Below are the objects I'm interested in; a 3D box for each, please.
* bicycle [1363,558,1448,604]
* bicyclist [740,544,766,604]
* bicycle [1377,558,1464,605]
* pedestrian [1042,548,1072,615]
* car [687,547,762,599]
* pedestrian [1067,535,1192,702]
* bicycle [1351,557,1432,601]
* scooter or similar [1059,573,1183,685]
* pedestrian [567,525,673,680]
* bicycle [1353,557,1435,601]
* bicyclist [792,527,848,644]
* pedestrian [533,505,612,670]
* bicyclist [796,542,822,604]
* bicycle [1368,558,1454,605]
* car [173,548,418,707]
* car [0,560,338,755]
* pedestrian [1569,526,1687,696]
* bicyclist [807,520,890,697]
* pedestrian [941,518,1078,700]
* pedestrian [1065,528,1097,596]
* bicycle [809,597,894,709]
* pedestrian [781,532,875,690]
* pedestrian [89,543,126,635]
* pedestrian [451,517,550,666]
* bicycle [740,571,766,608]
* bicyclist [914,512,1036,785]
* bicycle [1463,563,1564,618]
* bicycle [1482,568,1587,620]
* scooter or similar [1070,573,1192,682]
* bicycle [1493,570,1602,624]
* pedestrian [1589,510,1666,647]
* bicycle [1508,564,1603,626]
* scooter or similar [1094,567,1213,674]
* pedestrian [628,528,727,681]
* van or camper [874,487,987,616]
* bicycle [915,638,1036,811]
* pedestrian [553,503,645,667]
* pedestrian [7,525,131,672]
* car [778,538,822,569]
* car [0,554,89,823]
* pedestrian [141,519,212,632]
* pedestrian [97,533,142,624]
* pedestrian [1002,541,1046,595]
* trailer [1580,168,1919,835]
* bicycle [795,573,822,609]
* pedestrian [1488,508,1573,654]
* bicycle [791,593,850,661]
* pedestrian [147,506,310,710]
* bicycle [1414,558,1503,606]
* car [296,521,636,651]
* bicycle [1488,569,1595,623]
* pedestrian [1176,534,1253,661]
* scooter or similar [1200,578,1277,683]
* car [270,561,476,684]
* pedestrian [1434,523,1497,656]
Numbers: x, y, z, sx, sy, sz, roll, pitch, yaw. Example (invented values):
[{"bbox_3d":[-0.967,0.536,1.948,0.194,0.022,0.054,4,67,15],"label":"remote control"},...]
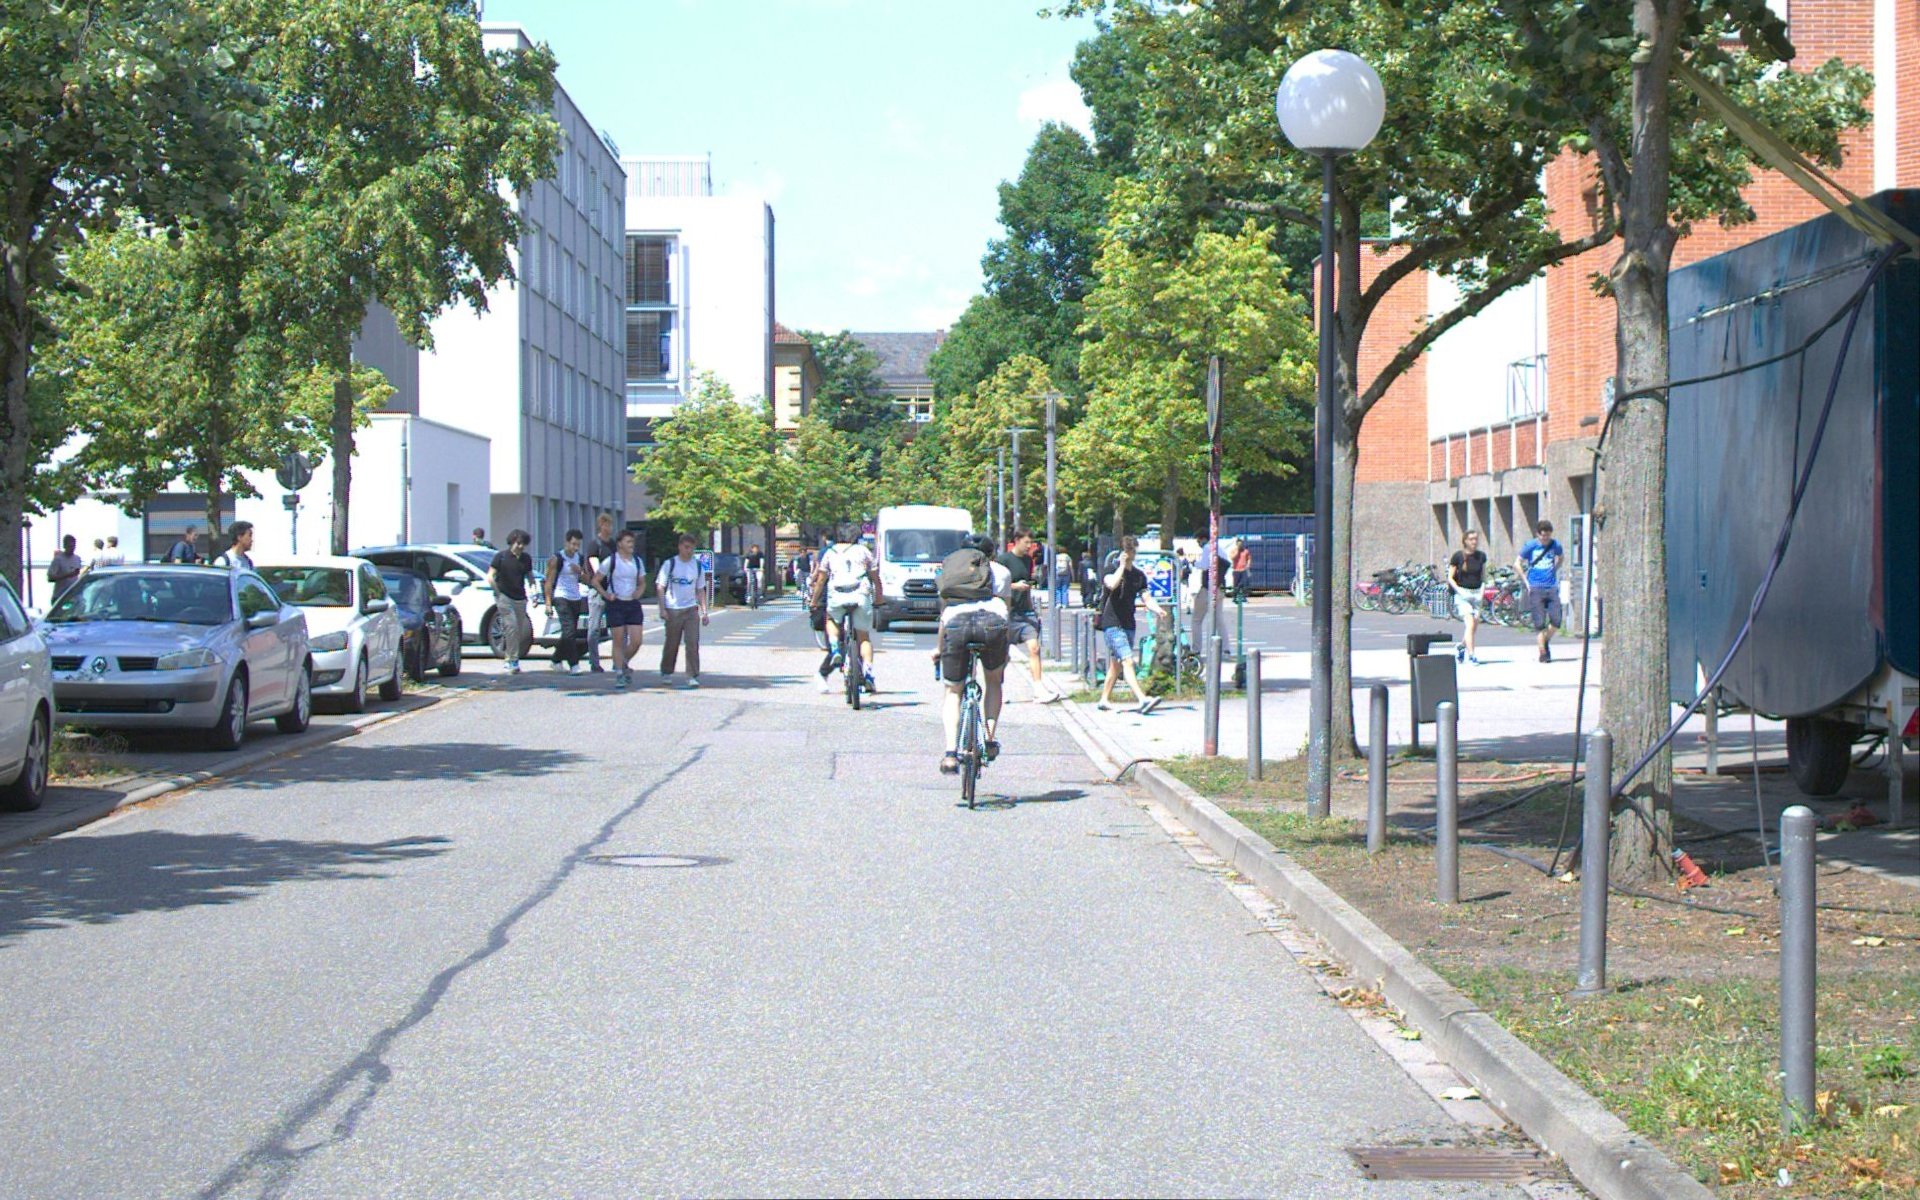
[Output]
[{"bbox_3d":[10.096,-0.443,77.916,1.809,0.981,0.560,-2,1,-1],"label":"bicycle"},{"bbox_3d":[-5.588,-0.712,92.787,0.643,1.596,0.909,-1,1,-3],"label":"bicyclist"},{"bbox_3d":[10.229,-0.416,76.383,1.809,0.981,0.560,-2,1,-1],"label":"bicycle"},{"bbox_3d":[2.726,-0.524,96.560,0.790,1.853,1.026,-1,1,1],"label":"pedestrian"},{"bbox_3d":[-7.156,-0.828,104.702,1.795,1.525,4.000,-1,1,3],"label":"car"},{"bbox_3d":[1.664,0.172,33.742,0.848,1.589,0.830,-3,2,-44],"label":"pedestrian"},{"bbox_3d":[10.184,-0.507,81.217,1.809,0.981,0.560,-2,1,-1],"label":"bicycle"},{"bbox_3d":[1.855,0.331,39.709,1.263,1.260,0.649,0,1,31],"label":"scooter or similar"},{"bbox_3d":[-3.865,0.024,39.070,0.982,1.733,0.699,0,0,38],"label":"pedestrian"},{"bbox_3d":[10.128,-0.489,80.253,1.809,0.981,0.560,-2,1,-1],"label":"bicycle"},{"bbox_3d":[-2.123,-0.221,52.135,0.808,1.750,0.692,1,0,0],"label":"bicyclist"},{"bbox_3d":[-4.701,-0.148,41.703,0.616,1.973,0.829,-1,-1,-32],"label":"pedestrian"},{"bbox_3d":[-4.122,-0.741,93.724,0.667,1.676,0.993,-1,1,-2],"label":"bicyclist"},{"bbox_3d":[10.127,-0.416,77.211,1.809,0.981,0.560,-2,1,-1],"label":"bicycle"},{"bbox_3d":[-6.328,0.222,33.081,1.662,1.407,3.807,1,1,-1],"label":"car"},{"bbox_3d":[-6.169,0.393,27.034,1.725,1.339,4.165,2,1,1],"label":"car"},{"bbox_3d":[6.735,0.097,34.704,0.875,1.632,0.949,-4,1,-1],"label":"pedestrian"},{"bbox_3d":[-1.137,0.079,35.097,0.771,1.750,0.848,-2,1,-2],"label":"bicyclist"},{"bbox_3d":[0.525,0.079,36.324,1.115,1.853,0.853,3,2,36],"label":"pedestrian"},{"bbox_3d":[3.317,-1.047,94.322,0.790,1.853,1.026,-1,1,1],"label":"pedestrian"},{"bbox_3d":[-1.113,0.528,35.218,0.808,0.998,2.124,-2,2,-2],"label":"bicycle"},{"bbox_3d":[-1.464,0.111,38.012,0.701,1.714,0.994,1,0,-22],"label":"pedestrian"},{"bbox_3d":[-16.327,-0.207,65.829,0.551,1.758,0.586,0,0,0],"label":"pedestrian"},{"bbox_3d":[-5.620,-0.107,42.068,0.802,1.766,0.853,3,1,23],"label":"pedestrian"},{"bbox_3d":[-5.575,-0.297,92.839,0.677,0.961,2.003,0,1,-3],"label":"bicycle"},{"bbox_3d":[0.091,0.294,21.625,0.717,1.656,1.095,1,0,0],"label":"bicyclist"},{"bbox_3d":[10.511,-0.188,65.321,1.809,0.981,0.560,-2,1,-1],"label":"bicycle"},{"bbox_3d":[10.621,-0.116,63.560,1.809,0.909,0.560,-2,1,-1],"label":"bicycle"},{"bbox_3d":[2.016,0.316,40.484,1.263,1.260,0.649,0,1,31],"label":"scooter or similar"},{"bbox_3d":[10.444,-0.052,61.133,1.809,0.909,0.560,-2,1,-1],"label":"bicycle"},{"bbox_3d":[9.143,-0.297,47.126,0.790,1.853,1.116,-1,1,-2],"label":"pedestrian"},{"bbox_3d":[10.279,-0.083,59.361,1.535,1.029,0.560,-1,1,-1],"label":"bicycle"},{"bbox_3d":[2.327,0.243,41.297,1.263,1.260,0.638,0,1,31],"label":"scooter or similar"},{"bbox_3d":[-3.247,0.040,39.518,0.908,1.733,0.677,0,1,38],"label":"pedestrian"},{"bbox_3d":[-0.541,-0.933,67.915,1.993,2.437,4.569,-1,0,2],"label":"van or camper"},{"bbox_3d":[0.102,0.758,21.533,0.706,0.990,1.910,1,0,1],"label":"bicycle"},{"bbox_3d":[-4.469,-0.189,42.605,0.827,1.973,0.691,3,1,23],"label":"pedestrian"},{"bbox_3d":[-12.310,-0.007,47.504,1.177,1.897,1.015,-1,-7,36],"label":"pedestrian"},{"bbox_3d":[-7.951,-2.310,171.361,1.795,1.525,4.000,-1,1,3],"label":"car"},{"bbox_3d":[-6.053,0.465,18.519,1.725,1.451,4.584,2,1,-3],"label":"car"},{"bbox_3d":[-12.400,-0.384,54.420,0.982,1.779,0.669,0,0,-2],"label":"pedestrian"},{"bbox_3d":[-16.229,-0.412,66.391,0.693,1.743,0.636,0,0,0],"label":"pedestrian"},{"bbox_3d":[2.499,-1.243,133.990,1.499,1.989,1.646,-3,2,-2],"label":"pedestrian"},{"bbox_3d":[5.441,-0.524,18.848,2.691,3.041,6.258,-1,1,-2],"label":"trailer"},{"bbox_3d":[-4.130,-0.238,93.746,0.677,0.961,2.003,-2,0,-2],"label":"bicycle"},{"bbox_3d":[7.221,-0.252,43.546,0.708,1.781,0.753,-4,3,-18],"label":"pedestrian"},{"bbox_3d":[-2.119,0.398,52.368,0.808,0.999,2.124,1,0,0],"label":"bicycle"},{"bbox_3d":[-6.441,0.075,30.296,1.106,1.710,0.710,3,-2,13],"label":"pedestrian"},{"bbox_3d":[10.701,-0.387,73.849,1.809,0.981,0.560,-2,1,-1],"label":"bicycle"},{"bbox_3d":[-6.970,-0.201,48.341,4.514,1.613,1.920,2,0,32],"label":"car"},{"bbox_3d":[10.505,-0.076,62.153,1.809,0.909,0.560,-2,1,-1],"label":"bicycle"},{"bbox_3d":[3.515,-0.041,47.432,0.959,1.688,0.704,2,3,9],"label":"pedestrian"},{"bbox_3d":[3.163,0.338,38.937,0.649,1.156,1.264,0,1,15],"label":"scooter or similar"},{"bbox_3d":[-6.651,0.220,39.307,1.645,1.296,3.928,-1,1,0],"label":"car"},{"bbox_3d":[6.364,-0.140,43.308,0.501,1.625,0.571,-4,3,-18],"label":"pedestrian"}]
